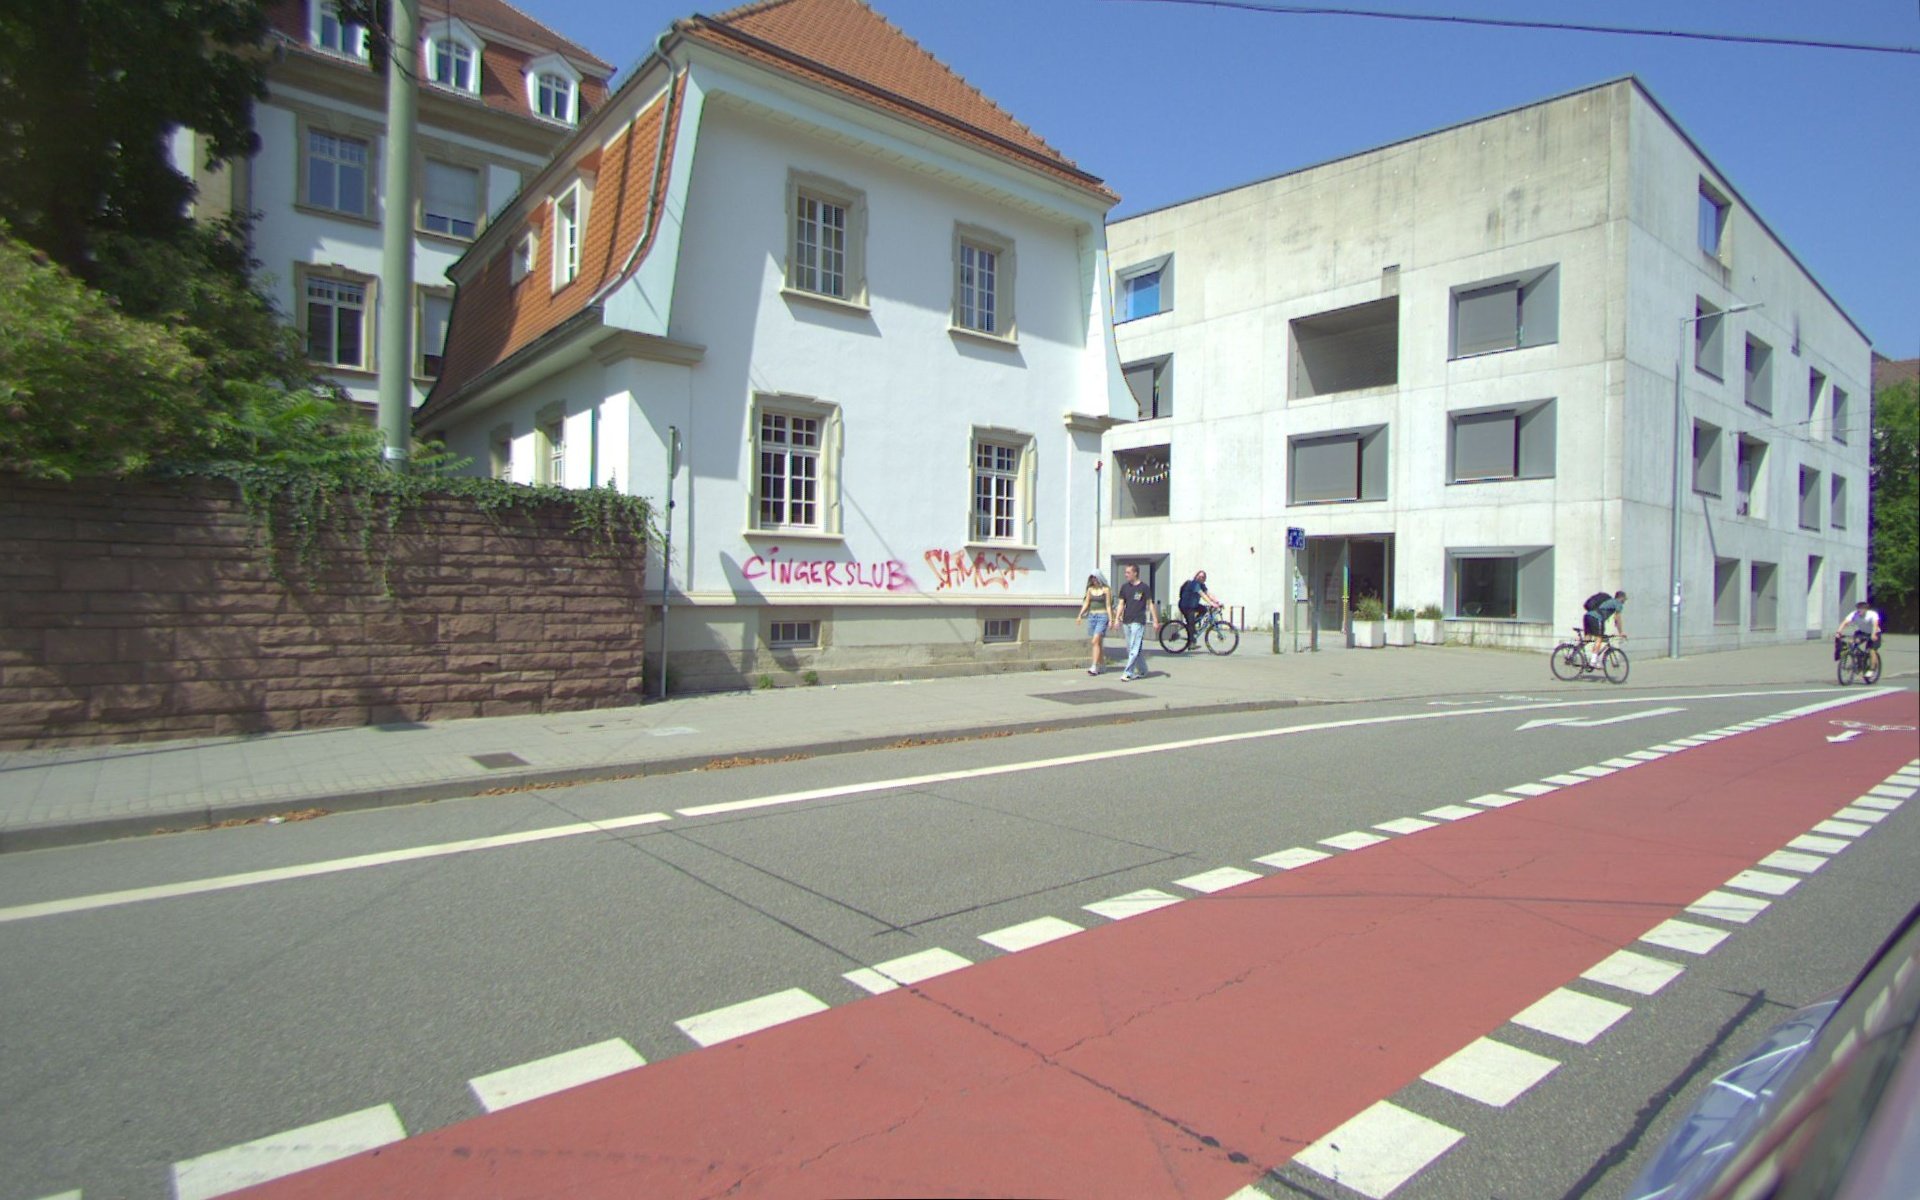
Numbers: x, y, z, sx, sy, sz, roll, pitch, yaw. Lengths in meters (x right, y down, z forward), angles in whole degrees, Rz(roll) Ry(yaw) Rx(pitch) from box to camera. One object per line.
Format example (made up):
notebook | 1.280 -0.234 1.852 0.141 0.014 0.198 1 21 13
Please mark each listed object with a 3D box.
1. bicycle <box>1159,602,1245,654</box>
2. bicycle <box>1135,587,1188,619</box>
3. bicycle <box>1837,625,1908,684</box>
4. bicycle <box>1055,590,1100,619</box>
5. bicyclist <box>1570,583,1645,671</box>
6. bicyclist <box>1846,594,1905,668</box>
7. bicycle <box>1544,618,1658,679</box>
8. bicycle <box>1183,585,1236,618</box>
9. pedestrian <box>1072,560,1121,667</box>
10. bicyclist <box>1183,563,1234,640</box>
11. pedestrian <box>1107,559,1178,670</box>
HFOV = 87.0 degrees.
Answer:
bicycle | 5.158 0.582 21.595 1.691 1.012 0.611 3 1 22
bicycle | 6.575 0.097 33.029 1.632 1.012 0.617 1 2 -28
bicycle | 18.285 1.062 20.269 2.193 1.062 0.741 0 0 -40
bicycle | 4.195 0.141 36.103 1.636 1.012 0.615 0 0 -39
bicyclist | 12.258 0.499 19.179 0.975 1.618 0.627 1 0 5
bicyclist | 18.422 0.605 20.361 0.944 1.429 0.746 1 0 -39
bicycle | 12.129 0.912 19.182 1.681 1.012 0.615 3 1 4
bicycle | 7.759 0.029 31.447 1.652 0.966 0.620 -2 2 -33
pedestrian | 2.214 0.207 16.399 0.478 1.687 0.619 1 0 -40
bicyclist | 5.291 0.015 21.525 0.893 1.558 0.624 4 3 22
pedestrian | 2.856 0.214 15.844 0.865 1.687 0.727 1 0 -45
